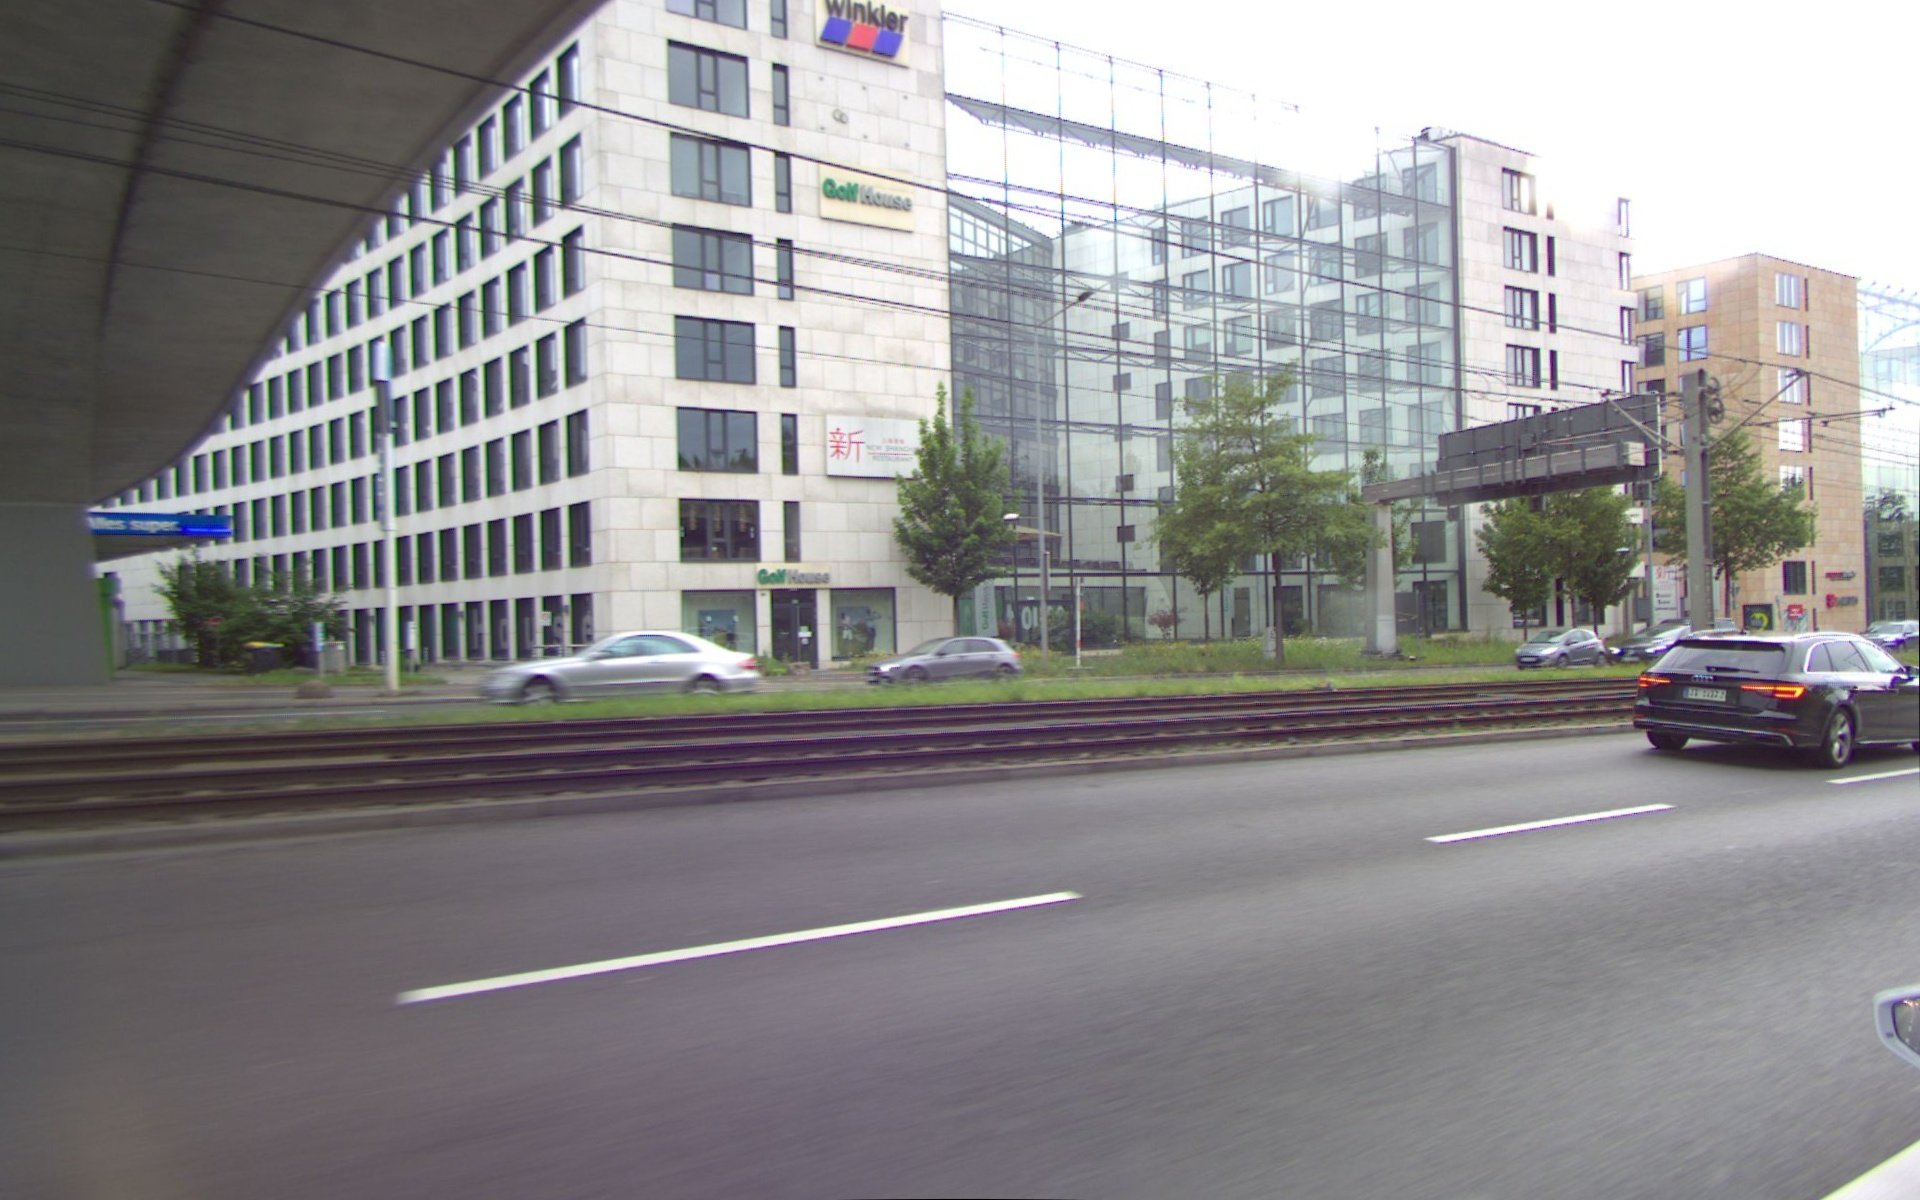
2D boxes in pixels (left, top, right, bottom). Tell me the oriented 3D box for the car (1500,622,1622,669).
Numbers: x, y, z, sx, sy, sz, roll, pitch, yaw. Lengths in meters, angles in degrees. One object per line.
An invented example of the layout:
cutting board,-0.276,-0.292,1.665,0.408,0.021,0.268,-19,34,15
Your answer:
car,21.584,1.597,36.055,4.220,1.554,1.803,0,0,-27

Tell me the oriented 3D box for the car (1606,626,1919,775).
car,9.923,1.074,11.896,4.747,1.432,1.778,2,-1,-29

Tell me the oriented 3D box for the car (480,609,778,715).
car,-5.725,0.989,17.533,4.733,1.619,1.756,0,0,-29

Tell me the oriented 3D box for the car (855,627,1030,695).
car,-0.466,1.587,27.151,4.433,1.619,1.757,0,0,-27

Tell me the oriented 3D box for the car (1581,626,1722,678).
car,22.927,1.662,33.282,4.806,1.554,1.803,0,0,-27

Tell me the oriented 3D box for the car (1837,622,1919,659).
car,43.701,1.862,47.531,4.433,1.627,1.803,0,0,-27
